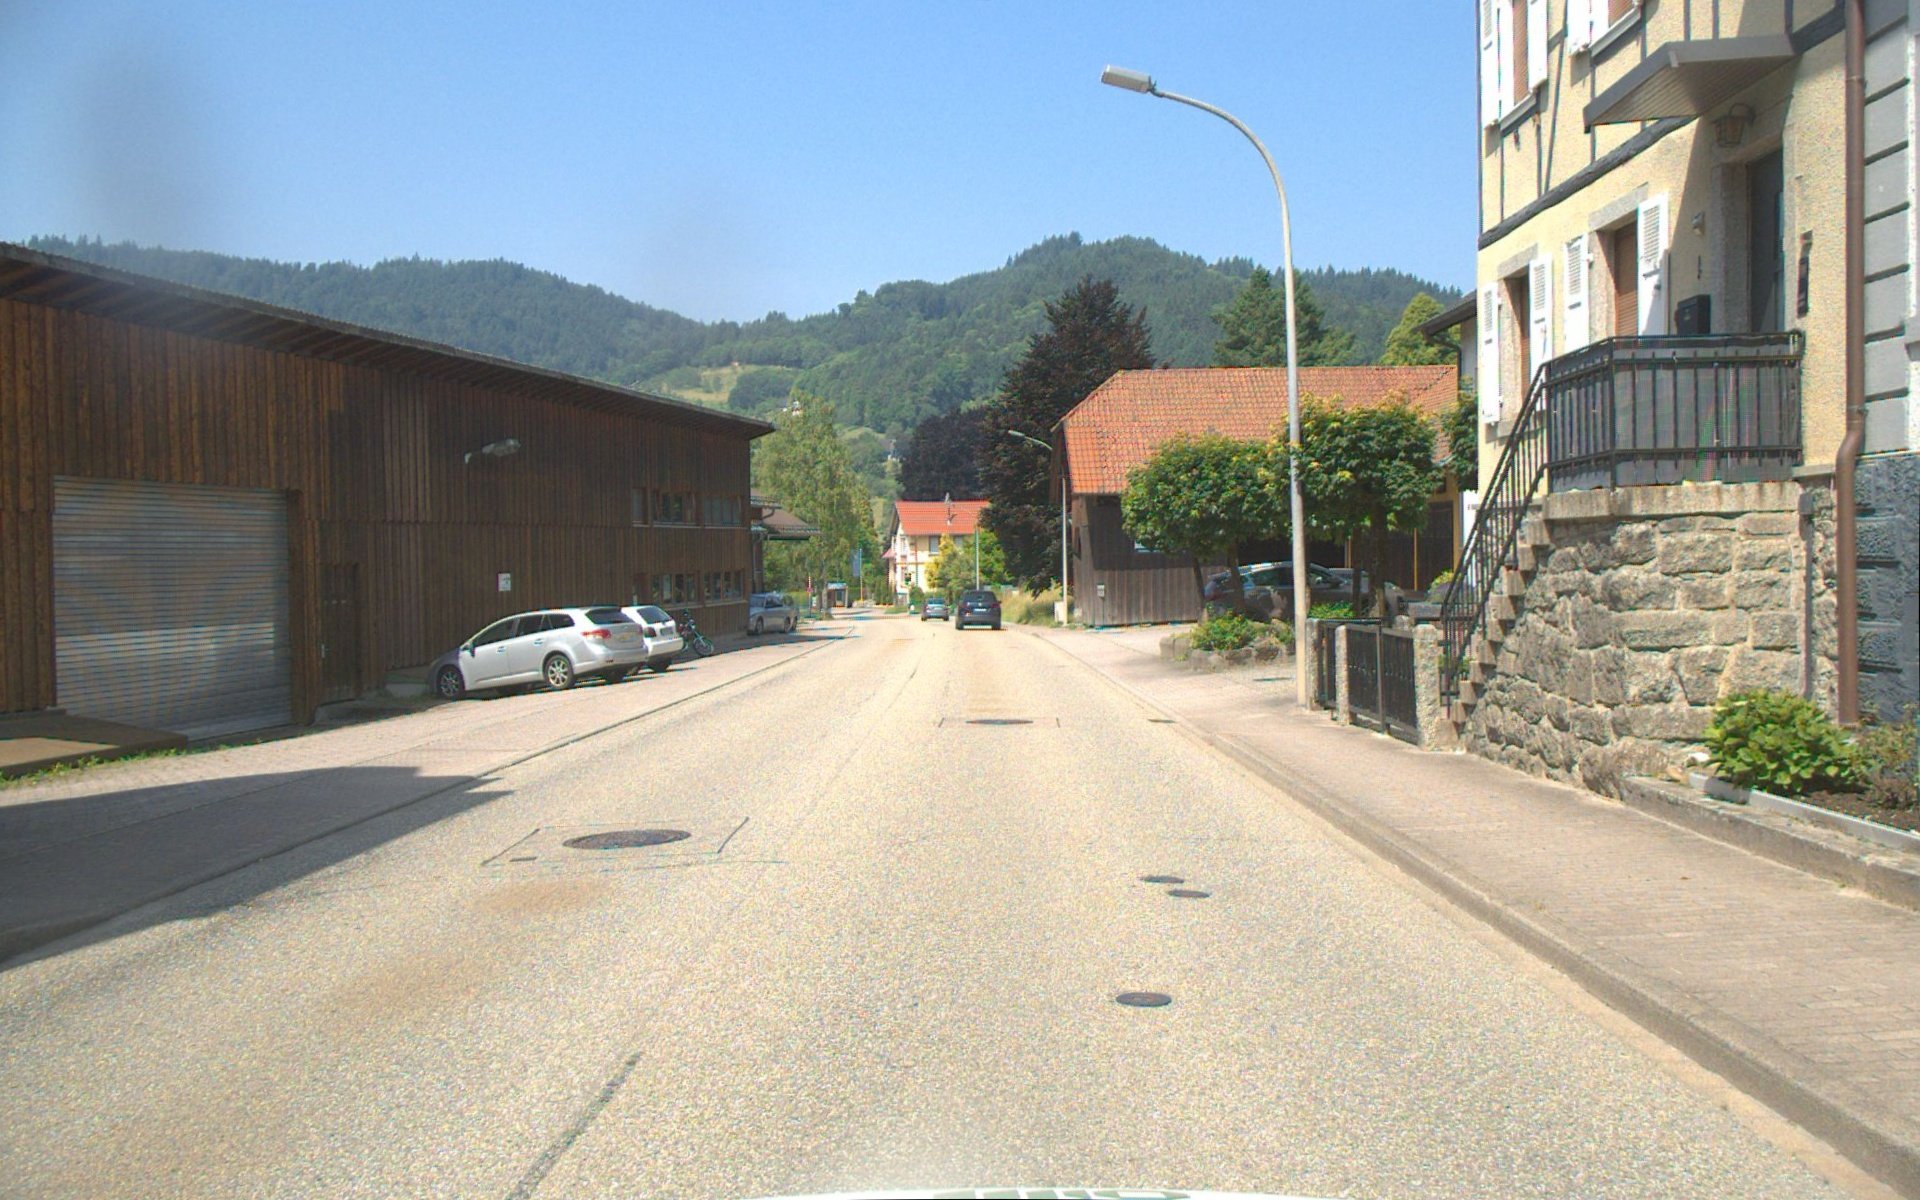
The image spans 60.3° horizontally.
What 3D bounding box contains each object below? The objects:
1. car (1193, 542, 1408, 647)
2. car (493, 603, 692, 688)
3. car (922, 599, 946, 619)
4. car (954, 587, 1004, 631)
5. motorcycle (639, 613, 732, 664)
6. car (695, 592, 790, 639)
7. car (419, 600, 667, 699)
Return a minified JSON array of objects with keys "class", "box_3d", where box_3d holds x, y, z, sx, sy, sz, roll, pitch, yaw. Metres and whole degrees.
[{"class":"car","box_3d":[7.159,-0.116,35.098,4.134,1.716,1.777,-6,0,3]},{"class":"car","box_3d":[-7.673,0.938,34.631,3.582,1.409,1.712,-6,-1,15]},{"class":"car","box_3d":[-1.741,0.584,110.101,1.448,1.230,2.382,-2,0,-5]},{"class":"car","box_3d":[0.769,0.374,68.872,1.881,1.728,3.787,-2,0,-2]},{"class":"motorcycle","box_3d":[-7.498,1.054,45.221,2.357,1.286,0.744,-2,0,10]},{"class":"car","box_3d":[-7.632,0.530,58.571,1.692,1.479,4.809,-1,1,14]},{"class":"car","box_3d":[-8.056,0.961,31.945,4.343,1.500,1.923,-5,0,26]}]
